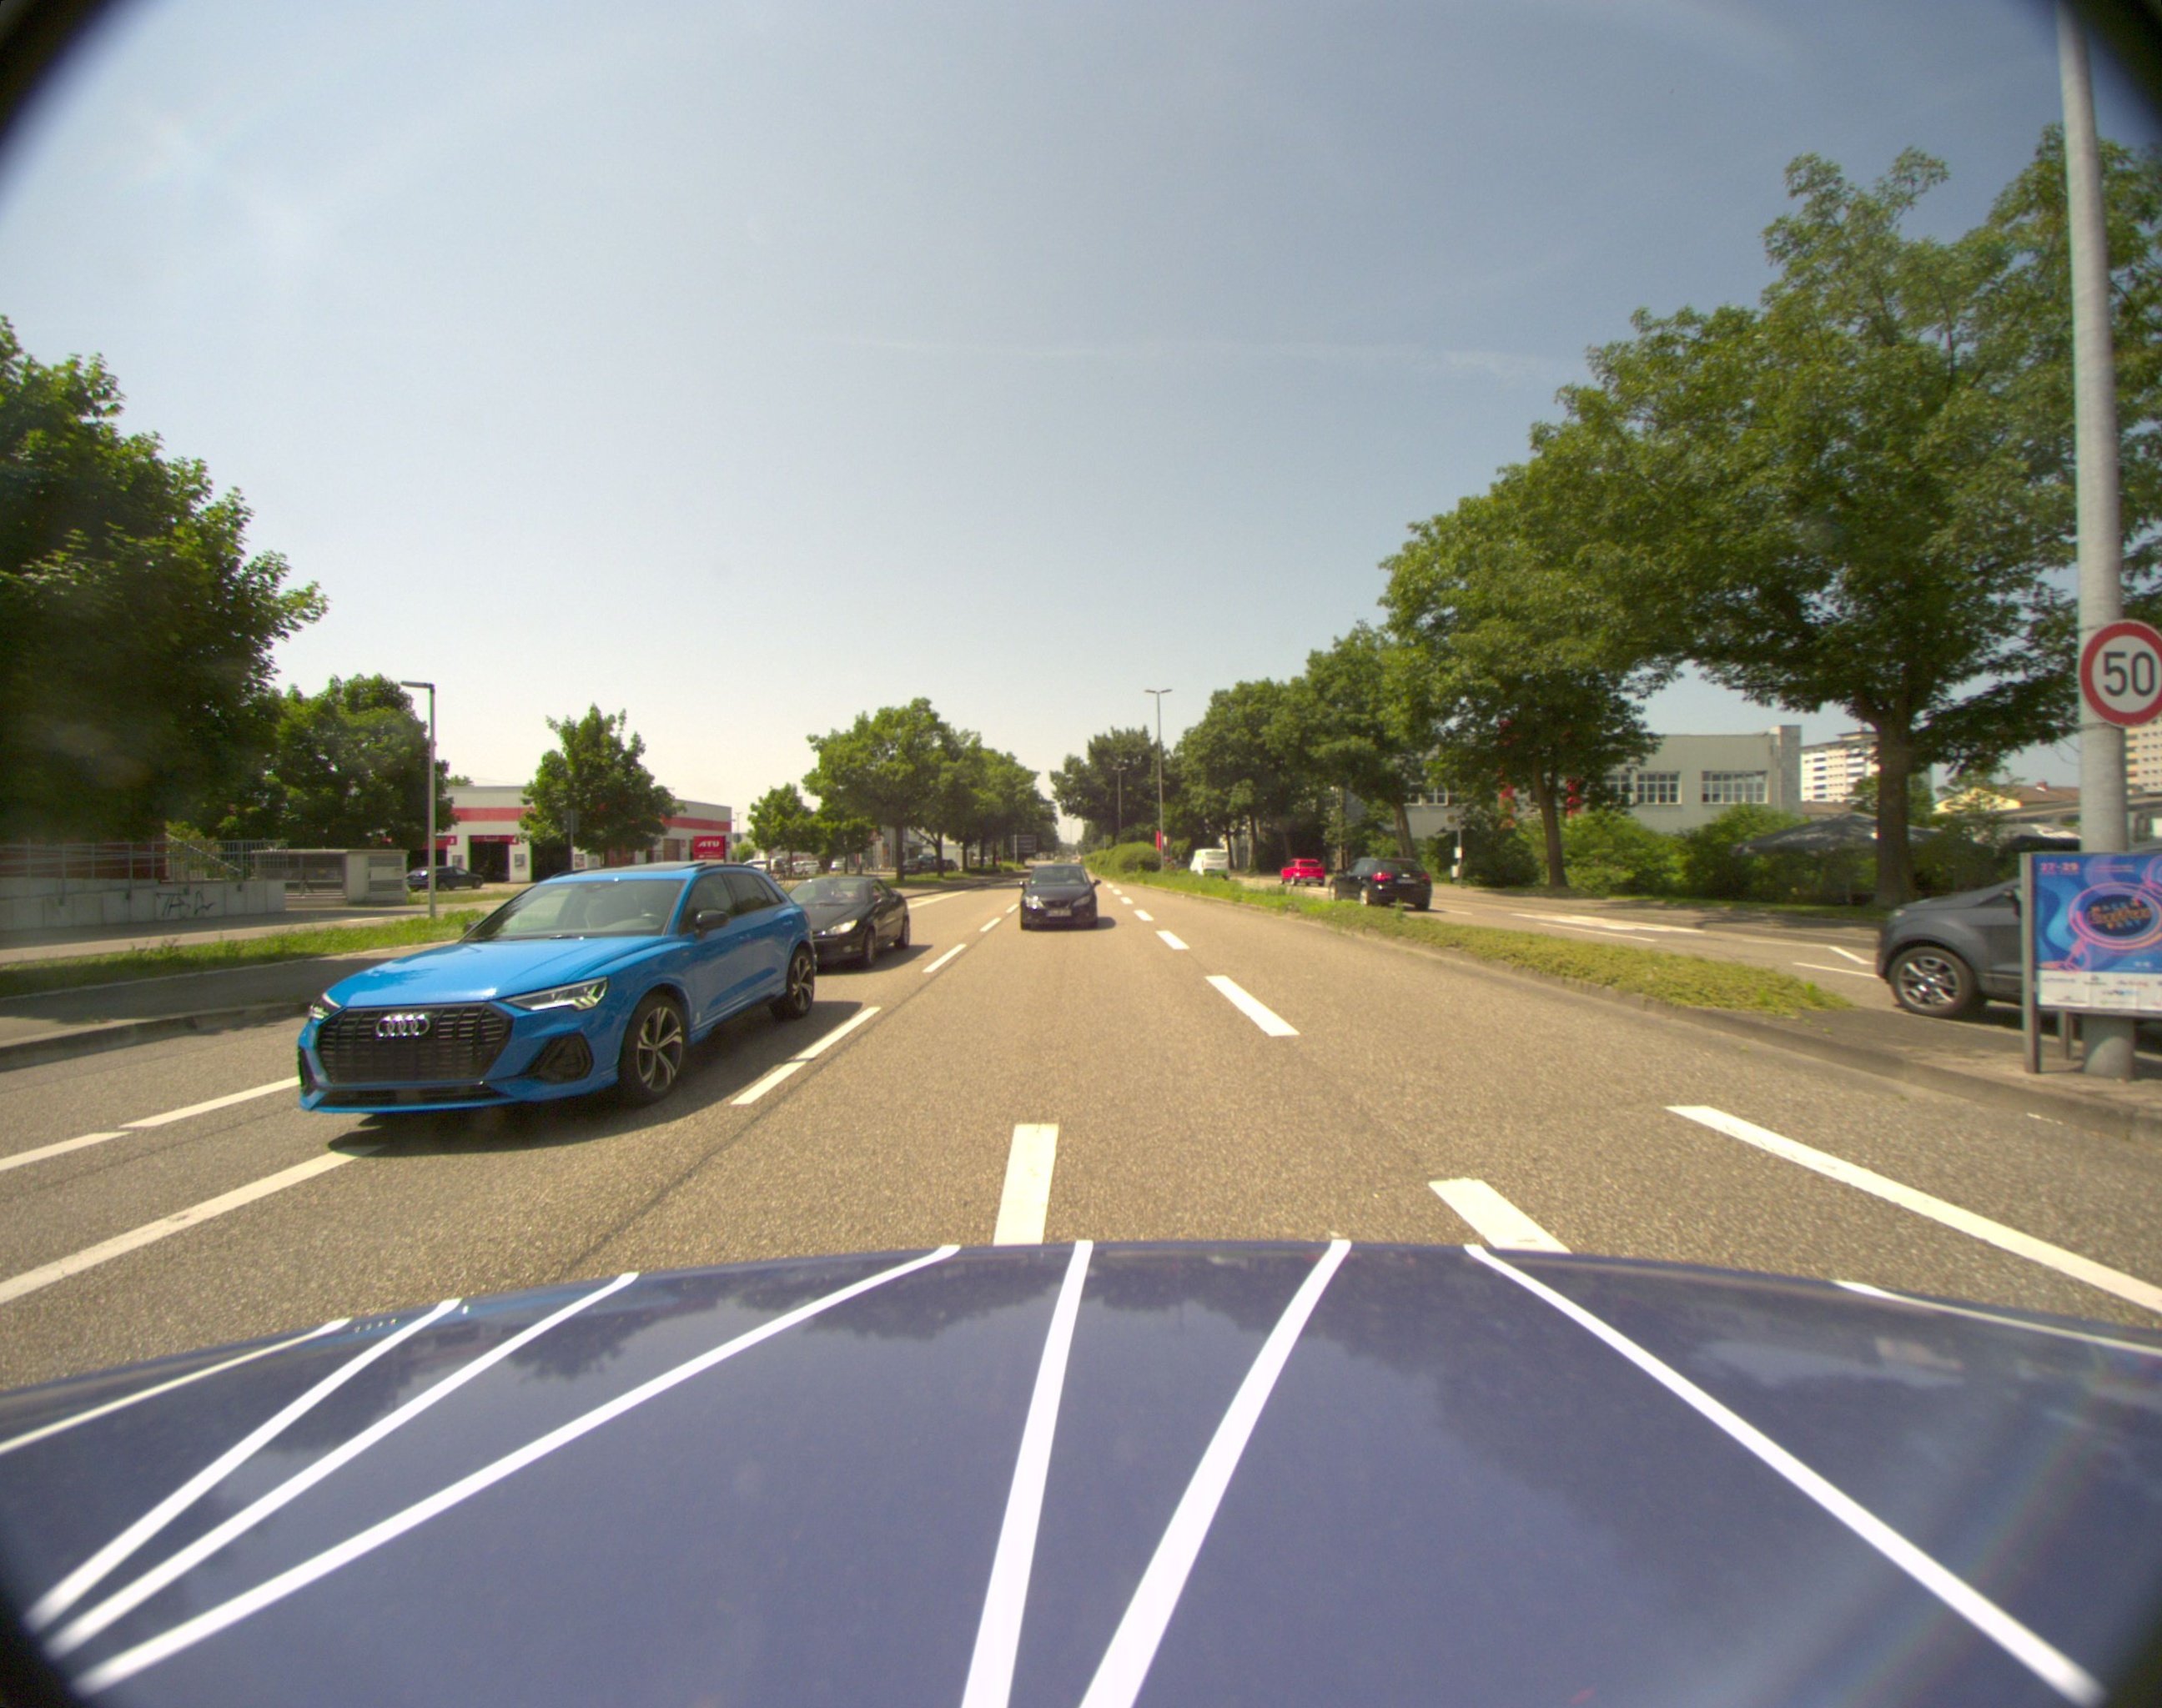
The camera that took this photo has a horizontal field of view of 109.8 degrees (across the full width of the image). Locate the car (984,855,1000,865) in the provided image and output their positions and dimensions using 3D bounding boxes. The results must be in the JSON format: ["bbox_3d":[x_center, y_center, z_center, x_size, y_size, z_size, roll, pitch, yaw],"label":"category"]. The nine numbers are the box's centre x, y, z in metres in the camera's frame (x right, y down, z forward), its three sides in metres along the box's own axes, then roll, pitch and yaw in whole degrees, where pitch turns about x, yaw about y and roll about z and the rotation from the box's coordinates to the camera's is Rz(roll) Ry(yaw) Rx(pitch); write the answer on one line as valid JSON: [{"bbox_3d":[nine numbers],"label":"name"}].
[{"bbox_3d":[-13.125,0.860,112.115,1.719,1.458,4.000,0,0,1],"label":"car"}]

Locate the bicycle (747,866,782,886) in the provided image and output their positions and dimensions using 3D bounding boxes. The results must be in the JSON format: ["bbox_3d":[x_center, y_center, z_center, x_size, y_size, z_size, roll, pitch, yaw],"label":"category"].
[{"bbox_3d":[-18.194,1.242,43.730,1.784,1.117,0.514,0,0,-6],"label":"bicycle"}]

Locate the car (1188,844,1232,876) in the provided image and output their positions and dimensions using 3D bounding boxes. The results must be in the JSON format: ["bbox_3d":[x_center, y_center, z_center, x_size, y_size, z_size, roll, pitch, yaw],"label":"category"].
[{"bbox_3d":[8.366,0.351,49.716,1.999,1.934,4.907,2,0,-1],"label":"car"}]

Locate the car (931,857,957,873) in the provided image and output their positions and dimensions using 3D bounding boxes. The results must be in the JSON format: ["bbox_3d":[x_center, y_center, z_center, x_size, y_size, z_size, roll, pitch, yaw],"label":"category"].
[{"bbox_3d":[-13.330,1.052,74.109,1.719,1.511,4.000,0,0,1],"label":"car"}]

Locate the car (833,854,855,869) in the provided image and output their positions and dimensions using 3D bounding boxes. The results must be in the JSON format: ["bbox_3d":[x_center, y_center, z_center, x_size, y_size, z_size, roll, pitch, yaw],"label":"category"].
[{"bbox_3d":[-27.418,0.850,87.981,1.759,1.586,3.997,0,0,-7],"label":"car"}]

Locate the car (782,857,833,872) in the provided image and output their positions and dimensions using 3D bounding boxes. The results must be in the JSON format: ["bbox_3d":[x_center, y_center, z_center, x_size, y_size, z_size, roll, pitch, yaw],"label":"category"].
[{"bbox_3d":[-25.019,0.953,69.612,3.998,1.293,1.689,0,0,-3],"label":"car"}]

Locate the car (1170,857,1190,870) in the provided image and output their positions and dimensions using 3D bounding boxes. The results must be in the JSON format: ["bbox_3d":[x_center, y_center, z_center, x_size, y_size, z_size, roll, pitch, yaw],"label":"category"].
[{"bbox_3d":[11.291,1.060,86.913,1.753,1.443,4.133,2,0,0],"label":"car"}]

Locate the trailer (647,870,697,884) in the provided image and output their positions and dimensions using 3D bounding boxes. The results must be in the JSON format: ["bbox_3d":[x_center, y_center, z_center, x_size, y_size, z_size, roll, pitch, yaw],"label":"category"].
[{"bbox_3d":[-24.062,1.359,44.761,2.137,0.757,1.394,-1,0,1],"label":"trailer"}]

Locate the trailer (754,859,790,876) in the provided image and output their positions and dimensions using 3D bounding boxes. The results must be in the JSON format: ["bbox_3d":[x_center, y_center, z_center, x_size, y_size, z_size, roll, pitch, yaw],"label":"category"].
[{"bbox_3d":[-27.264,1.186,67.105,2.642,1.518,1.415,0,0,-2],"label":"trailer"}]

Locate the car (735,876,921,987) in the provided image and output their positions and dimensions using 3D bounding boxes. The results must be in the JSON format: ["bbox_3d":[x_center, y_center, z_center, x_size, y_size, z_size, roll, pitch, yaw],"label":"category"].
[{"bbox_3d":[-3.856,1.106,12.331,1.642,1.336,4.000,-3,0,0],"label":"car"}]

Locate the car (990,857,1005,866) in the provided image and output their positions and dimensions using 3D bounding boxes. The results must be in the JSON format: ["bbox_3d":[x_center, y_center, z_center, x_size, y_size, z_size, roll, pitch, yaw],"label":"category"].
[{"bbox_3d":[-13.011,1.138,118.444,1.719,1.458,4.000,0,0,1],"label":"car"}]

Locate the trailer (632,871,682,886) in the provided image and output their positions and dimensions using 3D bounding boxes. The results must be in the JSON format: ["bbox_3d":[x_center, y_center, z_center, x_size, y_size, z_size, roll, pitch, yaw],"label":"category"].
[{"bbox_3d":[-24.047,1.382,43.124,2.137,0.757,1.267,-1,0,1],"label":"trailer"}]

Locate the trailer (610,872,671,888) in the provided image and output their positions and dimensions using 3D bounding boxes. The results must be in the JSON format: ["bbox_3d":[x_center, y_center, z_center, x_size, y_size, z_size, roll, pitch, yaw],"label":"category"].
[{"bbox_3d":[-23.937,1.402,41.305,2.467,0.757,1.449,-1,0,1],"label":"trailer"}]

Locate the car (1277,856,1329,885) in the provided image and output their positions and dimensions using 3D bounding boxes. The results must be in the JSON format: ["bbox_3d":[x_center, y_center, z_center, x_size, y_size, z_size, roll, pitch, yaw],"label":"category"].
[{"bbox_3d":[12.133,0.863,41.747,1.710,1.444,3.891,2,0,0],"label":"car"}]

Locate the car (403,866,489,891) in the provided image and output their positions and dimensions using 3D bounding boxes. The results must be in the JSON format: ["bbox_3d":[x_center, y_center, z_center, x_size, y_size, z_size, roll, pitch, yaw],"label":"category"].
[{"bbox_3d":[-38.162,1.460,45.826,1.717,1.364,4.145,0,0,0],"label":"car"}]

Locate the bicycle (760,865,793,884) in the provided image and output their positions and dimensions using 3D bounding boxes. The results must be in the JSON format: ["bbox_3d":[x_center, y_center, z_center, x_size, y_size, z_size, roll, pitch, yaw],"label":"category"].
[{"bbox_3d":[-18.414,1.218,45.920,1.784,1.117,0.514,0,0,-6],"label":"bicycle"}]

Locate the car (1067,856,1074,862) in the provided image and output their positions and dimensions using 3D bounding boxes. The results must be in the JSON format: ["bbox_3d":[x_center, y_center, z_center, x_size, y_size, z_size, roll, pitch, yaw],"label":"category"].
[{"bbox_3d":[-3.170,1.625,235.844,1.999,1.692,4.000,0,0,0],"label":"car"}]

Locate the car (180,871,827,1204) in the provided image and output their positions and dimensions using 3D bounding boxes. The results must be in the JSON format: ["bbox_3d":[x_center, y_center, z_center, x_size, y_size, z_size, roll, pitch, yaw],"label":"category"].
[{"bbox_3d":[-3.729,1.003,6.145,1.842,1.586,4.400,-1,0,0],"label":"car"}]

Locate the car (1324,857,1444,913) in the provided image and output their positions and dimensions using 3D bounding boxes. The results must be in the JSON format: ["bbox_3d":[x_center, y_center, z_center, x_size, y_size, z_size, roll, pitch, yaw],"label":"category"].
[{"bbox_3d":[8.414,0.803,21.516,1.683,1.331,3.999,2,0,-1],"label":"car"}]

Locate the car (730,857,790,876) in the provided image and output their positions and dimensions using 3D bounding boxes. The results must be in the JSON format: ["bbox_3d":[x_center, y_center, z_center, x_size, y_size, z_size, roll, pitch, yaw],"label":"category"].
[{"bbox_3d":[-25.275,0.963,59.891,3.998,1.394,1.747,0,0,-3],"label":"car"}]

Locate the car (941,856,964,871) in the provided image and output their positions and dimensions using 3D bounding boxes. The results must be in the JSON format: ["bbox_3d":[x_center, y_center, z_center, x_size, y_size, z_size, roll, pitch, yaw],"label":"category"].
[{"bbox_3d":[-13.556,1.025,80.284,1.719,1.504,4.000,0,0,1],"label":"car"}]

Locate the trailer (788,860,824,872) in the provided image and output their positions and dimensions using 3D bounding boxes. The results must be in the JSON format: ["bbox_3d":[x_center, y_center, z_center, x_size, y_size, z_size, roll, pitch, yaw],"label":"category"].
[{"bbox_3d":[-24.347,1.074,67.296,2.642,1.046,1.578,0,0,-2],"label":"trailer"}]

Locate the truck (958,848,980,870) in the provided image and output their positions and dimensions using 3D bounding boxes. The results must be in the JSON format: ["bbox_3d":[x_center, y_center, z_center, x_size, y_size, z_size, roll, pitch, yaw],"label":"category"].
[{"bbox_3d":[-13.538,0.578,92.012,1.904,2.552,4.000,0,0,2],"label":"truck"}]

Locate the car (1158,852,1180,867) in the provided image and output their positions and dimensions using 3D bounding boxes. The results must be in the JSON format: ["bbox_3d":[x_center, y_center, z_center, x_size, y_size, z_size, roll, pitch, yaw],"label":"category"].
[{"bbox_3d":[8.390,0.520,73.042,1.584,1.433,3.608,2,0,-1],"label":"car"}]

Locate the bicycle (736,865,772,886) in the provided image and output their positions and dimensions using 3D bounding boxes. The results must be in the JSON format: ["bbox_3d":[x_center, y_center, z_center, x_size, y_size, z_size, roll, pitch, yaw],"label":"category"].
[{"bbox_3d":[-18.466,1.220,42.984,1.784,1.117,0.514,0,0,-6],"label":"bicycle"}]

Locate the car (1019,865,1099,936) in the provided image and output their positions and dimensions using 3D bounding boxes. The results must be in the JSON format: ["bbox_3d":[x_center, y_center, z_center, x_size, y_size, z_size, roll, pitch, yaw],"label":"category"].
[{"bbox_3d":[-0.481,0.996,17.775,1.642,1.395,4.000,0,0,-1],"label":"car"}]

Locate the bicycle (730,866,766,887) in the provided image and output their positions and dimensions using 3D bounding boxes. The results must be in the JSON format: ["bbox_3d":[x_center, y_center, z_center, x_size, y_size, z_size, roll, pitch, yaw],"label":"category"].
[{"bbox_3d":[-18.550,1.238,42.358,1.784,1.117,0.514,0,0,-6],"label":"bicycle"}]

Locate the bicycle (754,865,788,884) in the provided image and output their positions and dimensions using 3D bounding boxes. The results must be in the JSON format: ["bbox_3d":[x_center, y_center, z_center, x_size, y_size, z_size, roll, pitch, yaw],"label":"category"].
[{"bbox_3d":[-18.379,1.226,45.089,1.784,1.117,0.514,0,0,-6],"label":"bicycle"}]

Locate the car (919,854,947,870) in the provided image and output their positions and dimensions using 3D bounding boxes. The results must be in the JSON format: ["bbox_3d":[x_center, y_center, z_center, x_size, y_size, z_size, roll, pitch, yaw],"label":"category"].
[{"bbox_3d":[-13.425,0.704,68.936,1.719,1.458,4.000,0,0,1],"label":"car"}]

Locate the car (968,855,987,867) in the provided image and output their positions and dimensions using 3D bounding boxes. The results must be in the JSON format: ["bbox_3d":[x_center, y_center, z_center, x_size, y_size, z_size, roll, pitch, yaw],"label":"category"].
[{"bbox_3d":[-13.304,0.926,97.847,1.719,1.458,4.000,0,0,1],"label":"car"}]

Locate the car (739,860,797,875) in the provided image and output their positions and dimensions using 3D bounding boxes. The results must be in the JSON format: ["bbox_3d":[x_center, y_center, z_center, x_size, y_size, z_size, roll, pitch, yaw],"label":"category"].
[{"bbox_3d":[-25.598,1.080,62.260,3.998,1.201,1.747,0,0,-3],"label":"car"}]

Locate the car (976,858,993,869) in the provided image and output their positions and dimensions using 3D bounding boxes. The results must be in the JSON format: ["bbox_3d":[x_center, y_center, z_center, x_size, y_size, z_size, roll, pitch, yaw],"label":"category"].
[{"bbox_3d":[-13.272,1.237,104.612,1.719,1.458,4.000,0,0,1],"label":"car"}]

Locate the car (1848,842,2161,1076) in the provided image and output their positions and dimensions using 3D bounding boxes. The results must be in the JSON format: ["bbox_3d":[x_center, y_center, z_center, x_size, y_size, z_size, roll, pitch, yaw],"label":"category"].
[{"bbox_3d":[8.207,0.742,5.298,1.691,1.591,3.884,2,0,-1],"label":"car"}]

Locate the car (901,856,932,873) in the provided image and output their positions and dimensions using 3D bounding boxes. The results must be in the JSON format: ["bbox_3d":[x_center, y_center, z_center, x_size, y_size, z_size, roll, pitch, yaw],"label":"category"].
[{"bbox_3d":[-13.511,0.856,62.708,1.642,1.363,4.000,0,0,1],"label":"car"}]

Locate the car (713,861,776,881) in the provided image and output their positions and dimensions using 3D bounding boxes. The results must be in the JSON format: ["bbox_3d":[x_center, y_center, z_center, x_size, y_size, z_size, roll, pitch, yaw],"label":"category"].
[{"bbox_3d":[-25.503,1.269,57.662,3.998,1.394,1.747,0,0,-2],"label":"car"}]

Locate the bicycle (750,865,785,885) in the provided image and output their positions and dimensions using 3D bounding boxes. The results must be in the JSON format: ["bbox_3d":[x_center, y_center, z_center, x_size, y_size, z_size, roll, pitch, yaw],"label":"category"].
[{"bbox_3d":[-18.289,1.205,44.370,1.784,1.117,0.514,0,0,-6],"label":"bicycle"}]
